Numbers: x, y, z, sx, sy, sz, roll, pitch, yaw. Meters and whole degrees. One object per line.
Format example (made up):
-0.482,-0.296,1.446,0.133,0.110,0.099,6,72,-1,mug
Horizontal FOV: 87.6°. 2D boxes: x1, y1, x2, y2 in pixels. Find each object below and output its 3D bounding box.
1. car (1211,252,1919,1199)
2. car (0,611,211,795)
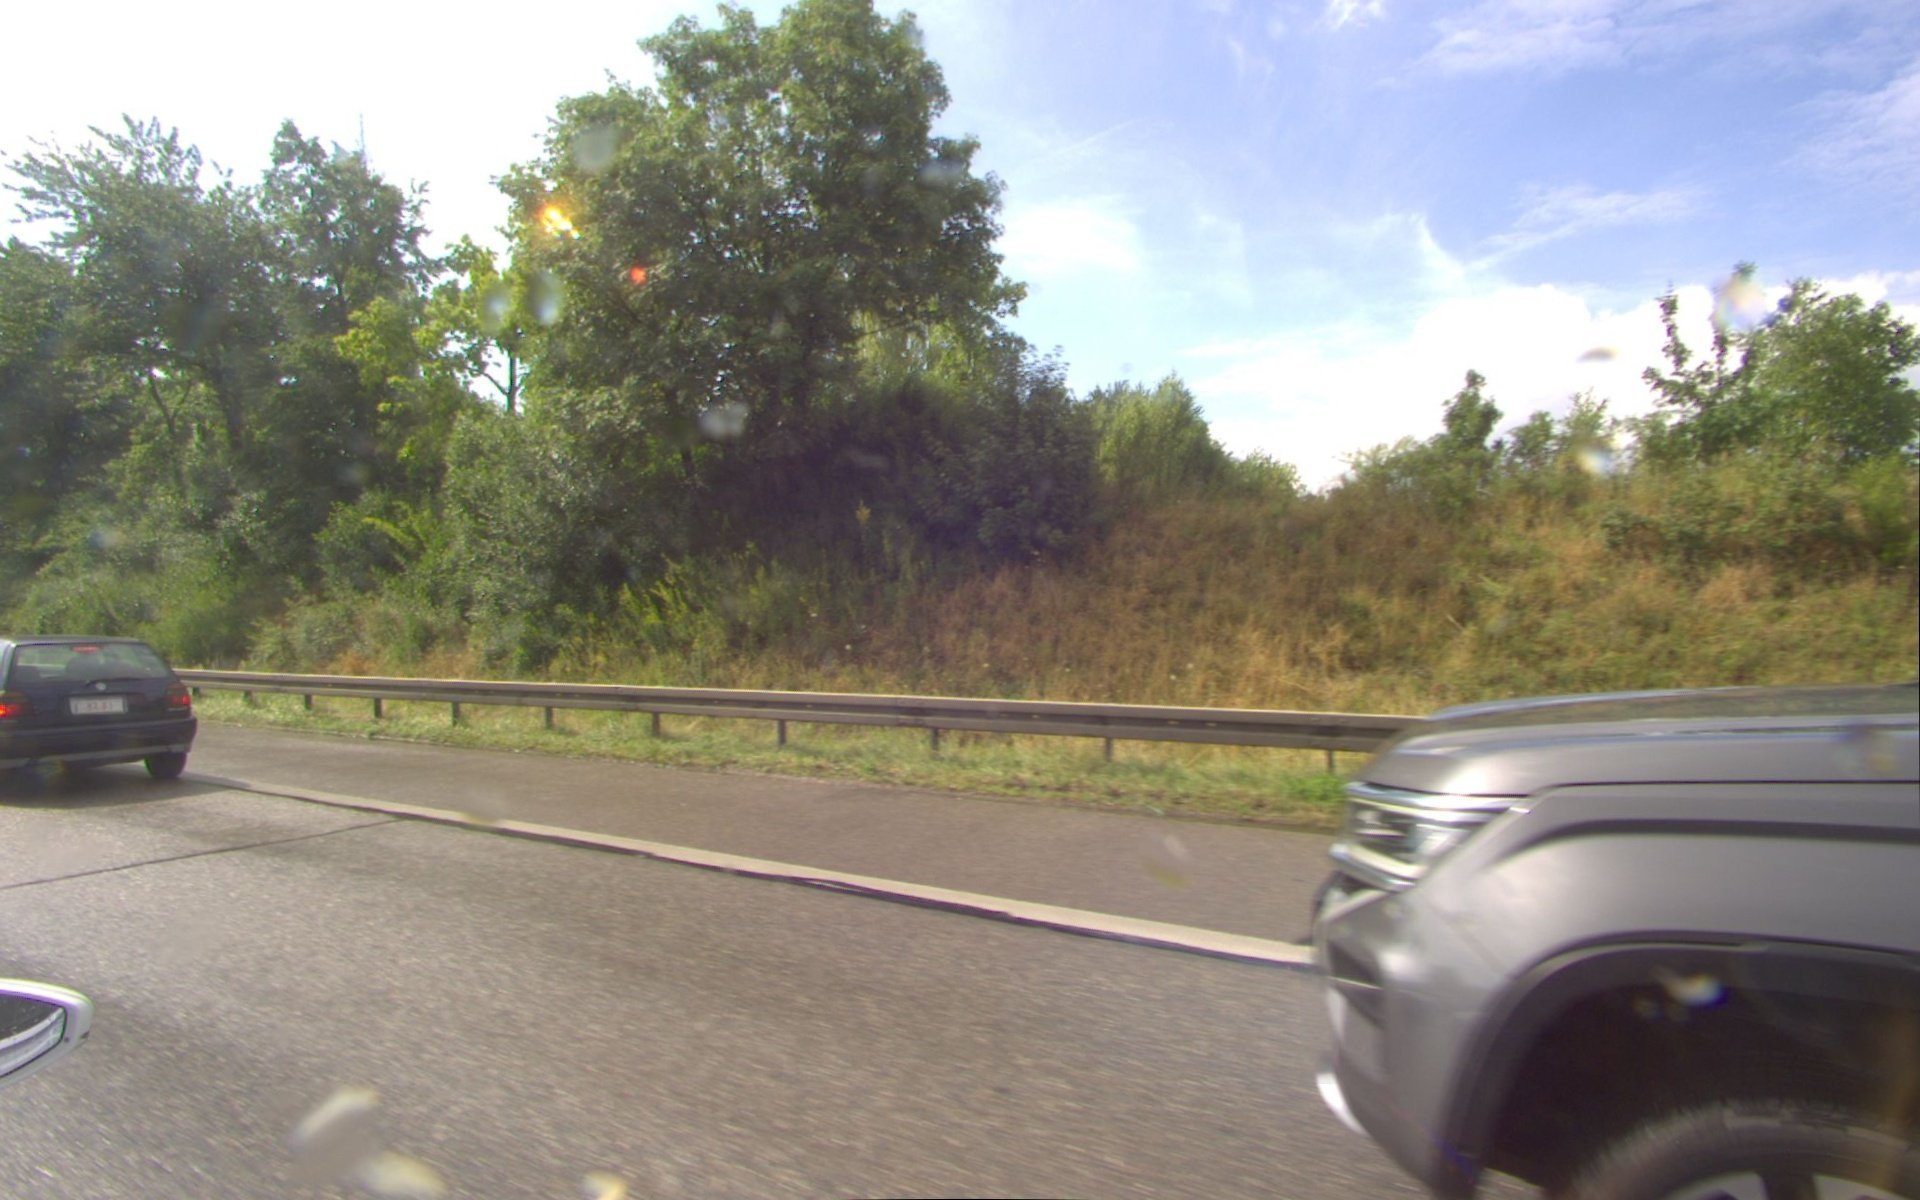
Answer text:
3.346,0.488,1.279,5.569,1.943,1.940,-1,-2,31,car
-9.367,0.919,9.995,3.916,1.535,1.589,-1,-2,29,car
